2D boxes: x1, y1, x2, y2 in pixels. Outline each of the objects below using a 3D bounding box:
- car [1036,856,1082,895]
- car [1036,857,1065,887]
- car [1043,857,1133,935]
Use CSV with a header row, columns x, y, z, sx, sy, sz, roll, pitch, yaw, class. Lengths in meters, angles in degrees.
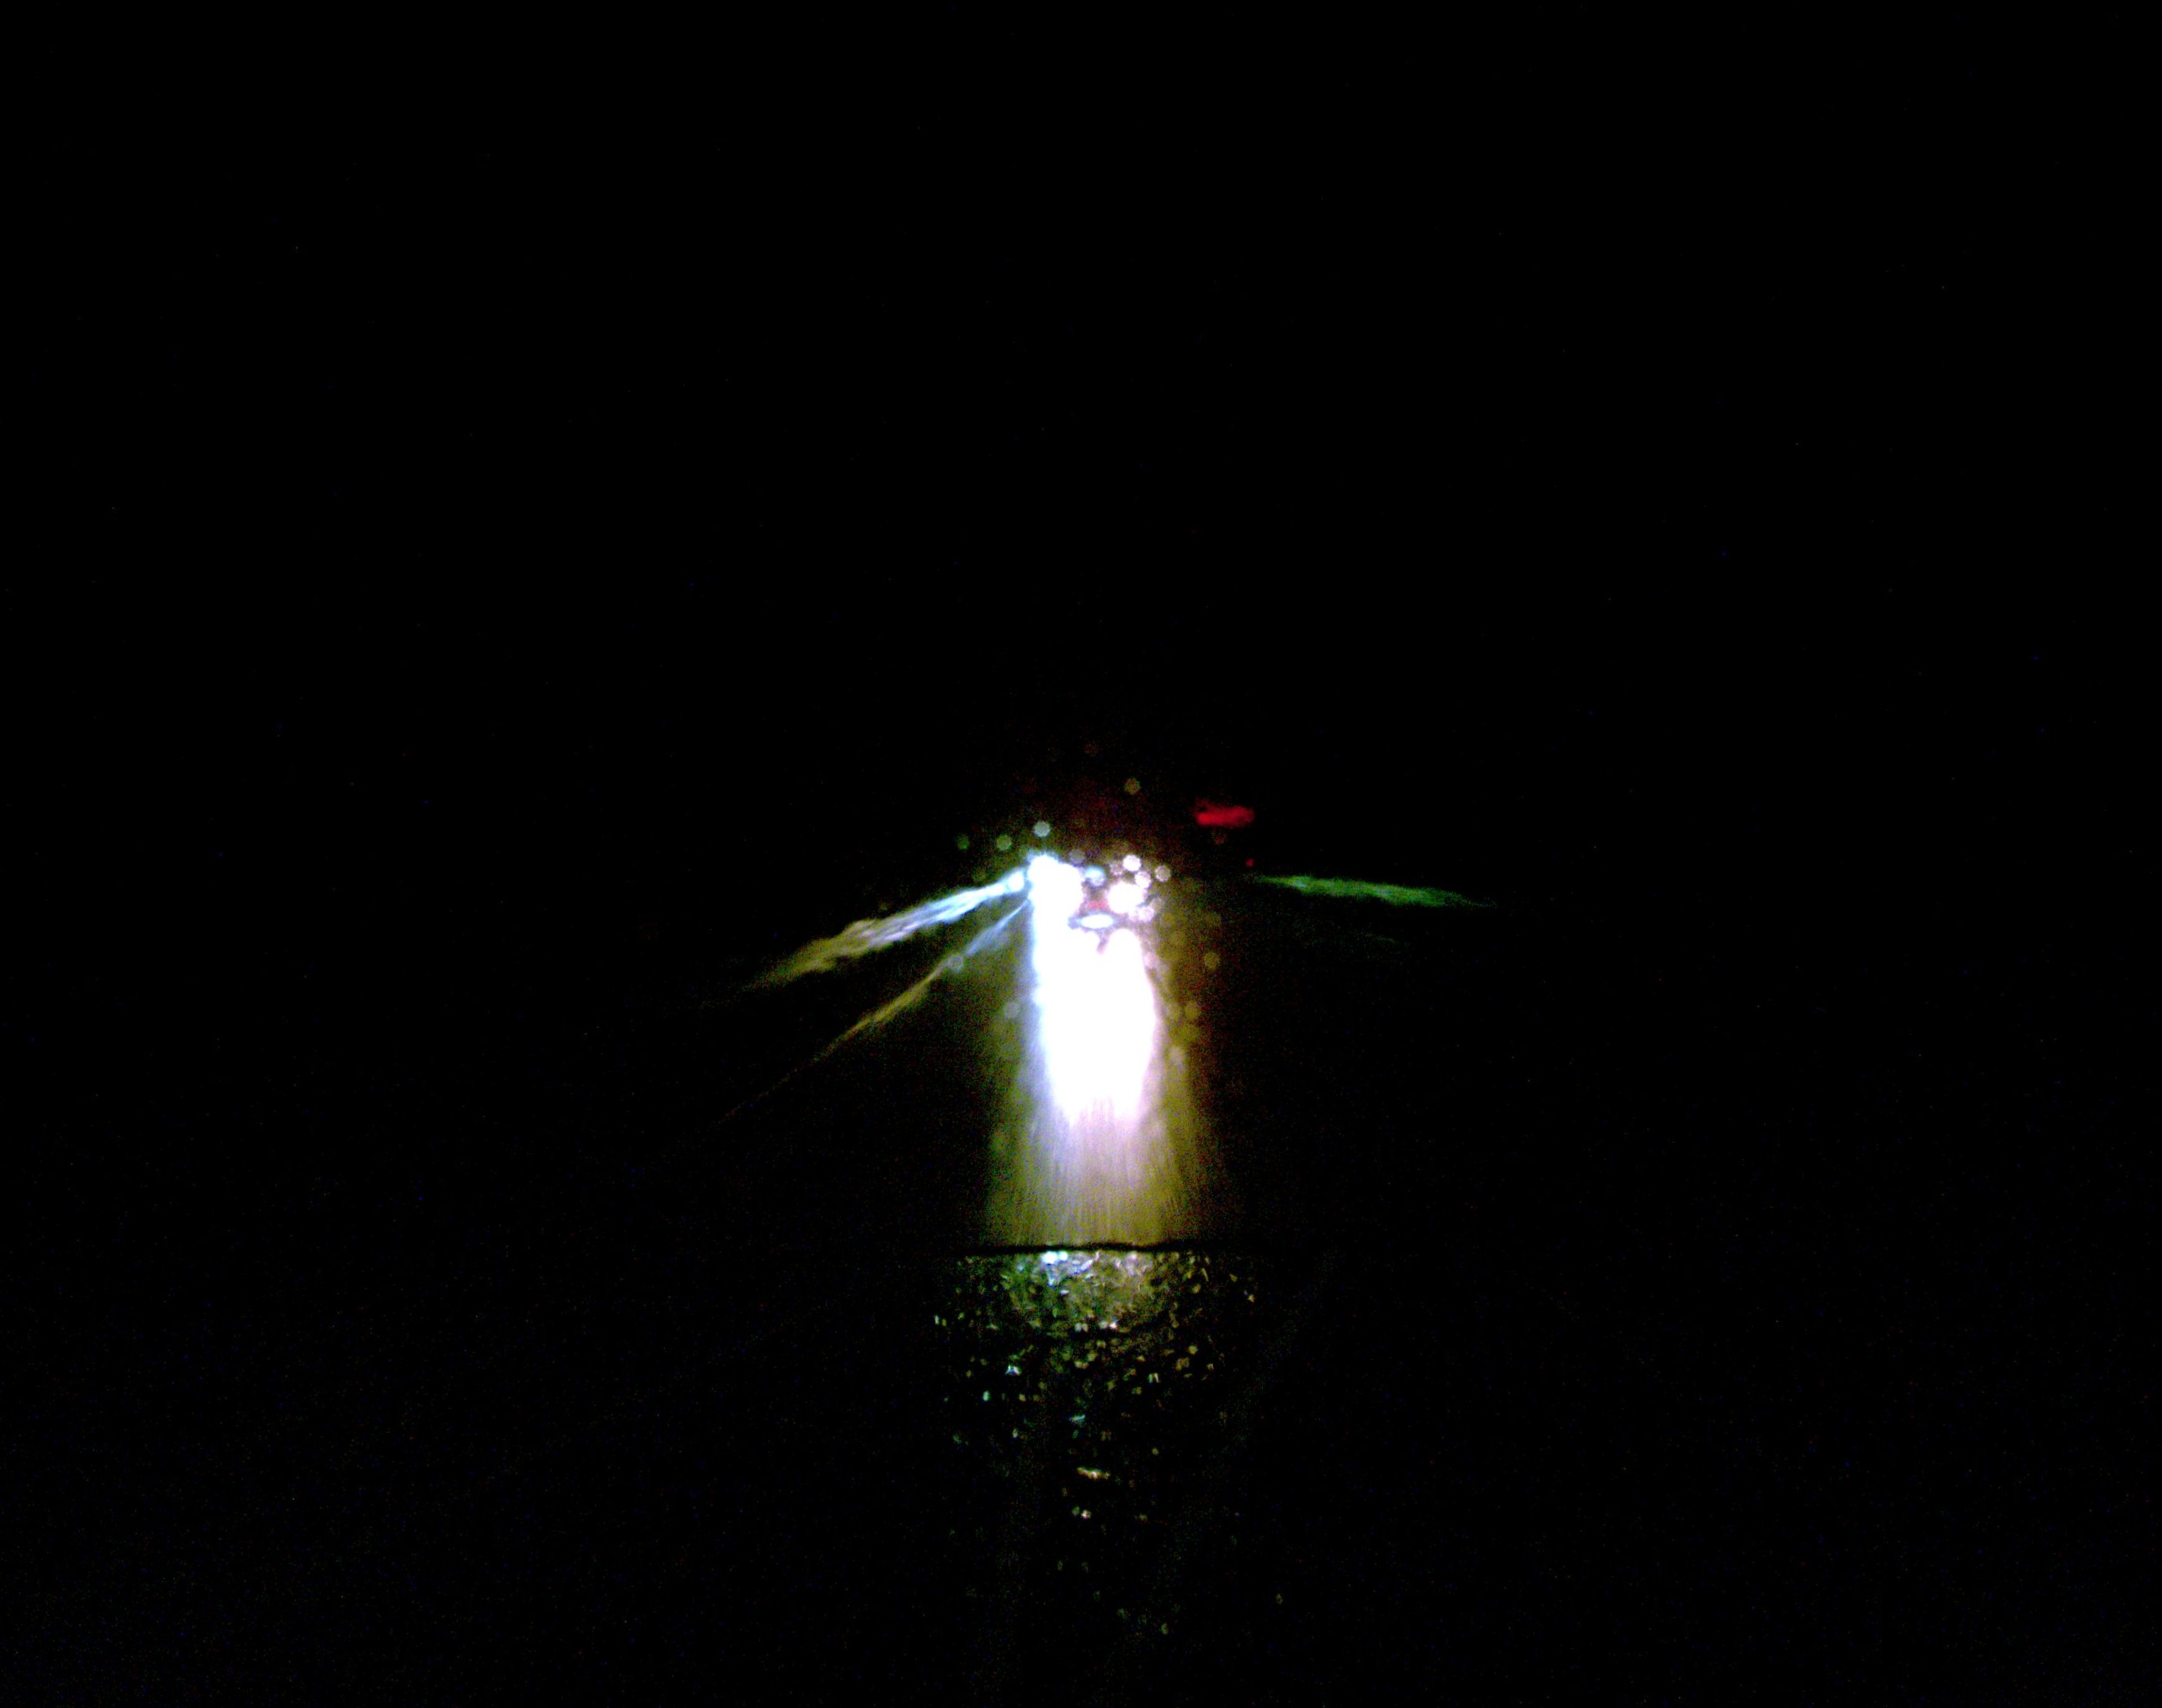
x,y,z,sx,sy,sz,roll,pitch,yaw,class
-0.929,0.933,34.268,1.849,1.441,3.874,-3,2,1,car
-2.016,1.189,51.400,1.784,1.696,3.998,-4,2,-1,car
0.264,0.923,18.287,1.849,1.441,4.000,-3,2,3,car
